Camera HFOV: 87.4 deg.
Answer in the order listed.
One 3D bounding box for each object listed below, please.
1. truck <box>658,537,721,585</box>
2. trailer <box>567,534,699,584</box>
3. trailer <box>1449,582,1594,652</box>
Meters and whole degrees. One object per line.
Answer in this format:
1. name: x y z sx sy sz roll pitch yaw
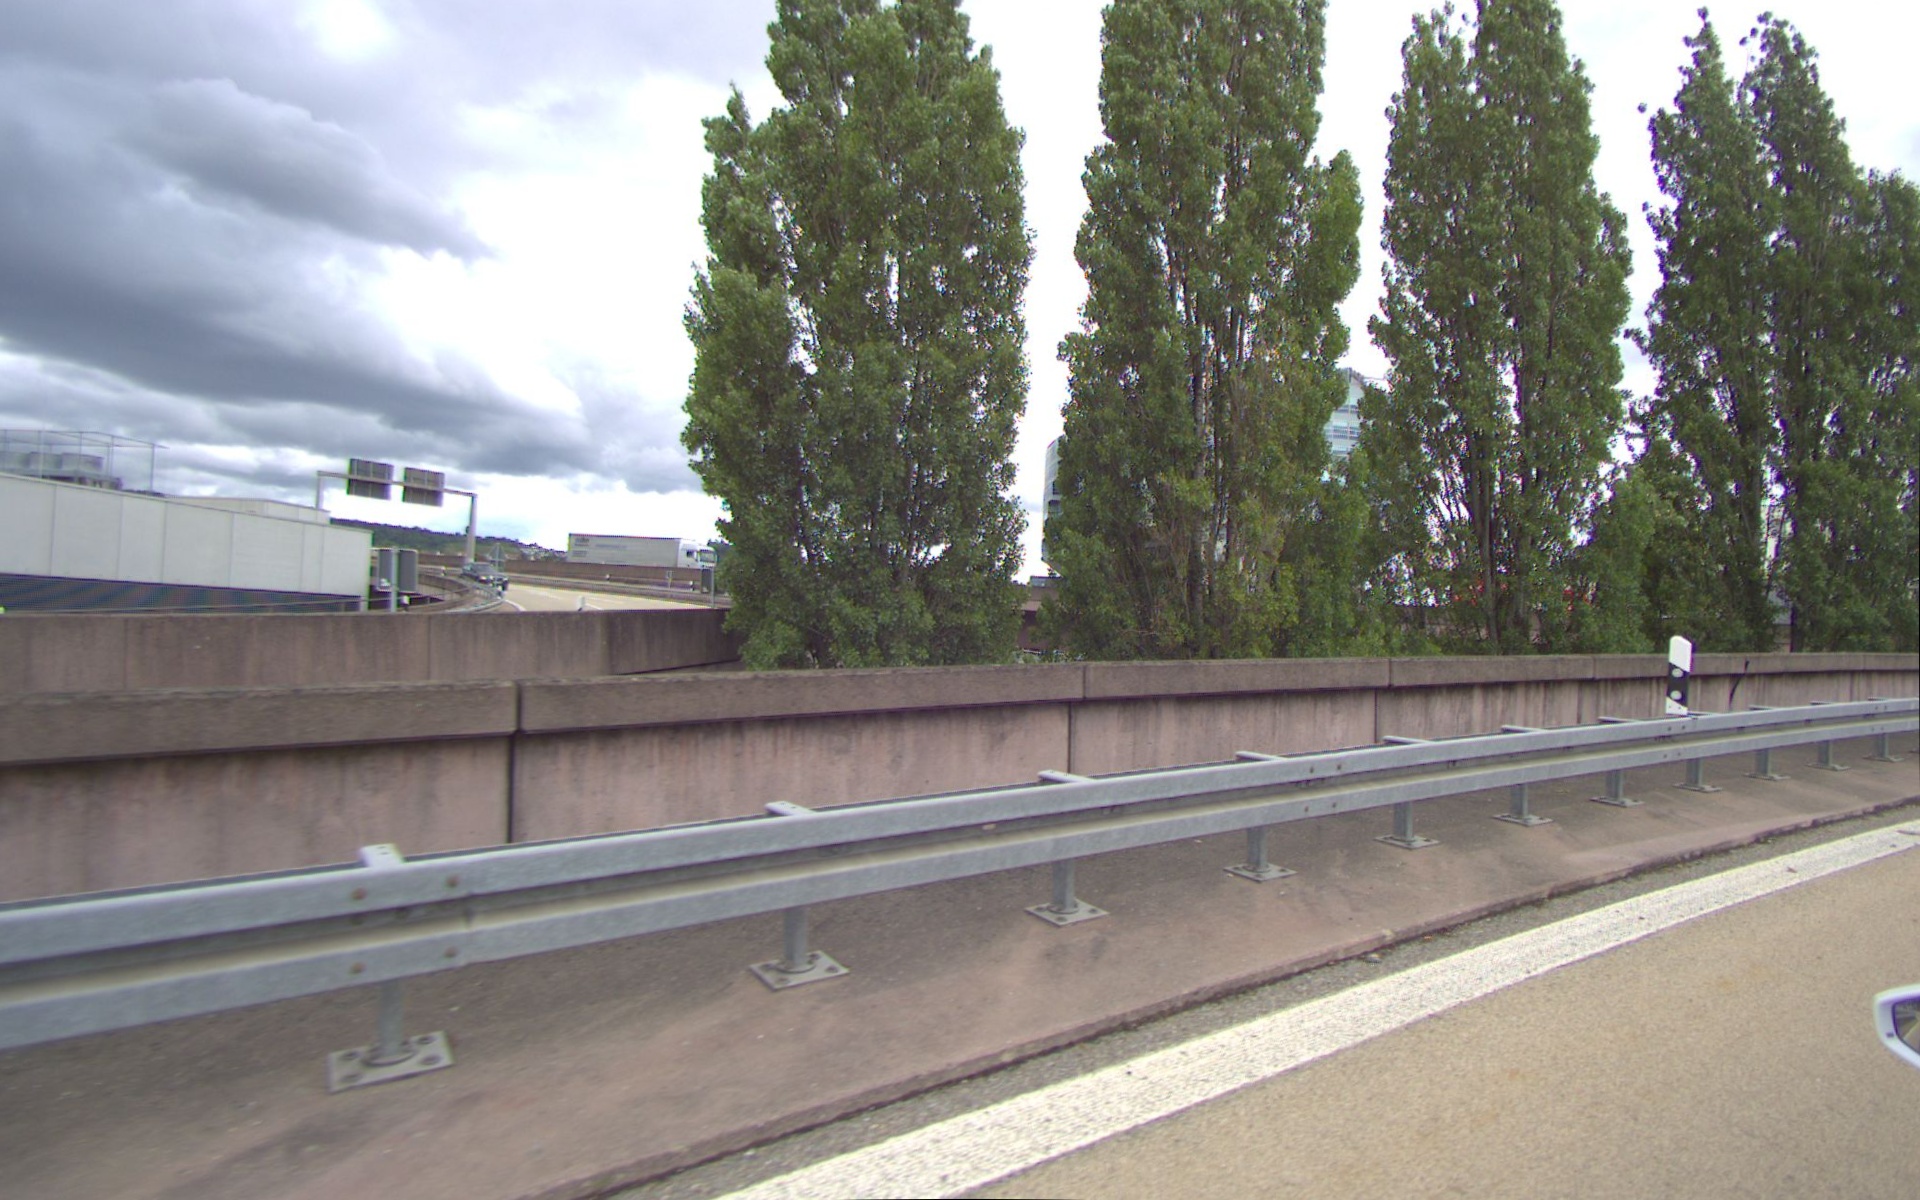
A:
1. truck: -24.215 -3.494 89.886 4.704 4.065 2.861 3 2 28
2. trailer: -30.514 -3.866 93.260 13.717 4.065 2.861 3 2 28
3. trailer: 32.860 0.968 59.075 7.178 3.738 2.696 2 -1 28
